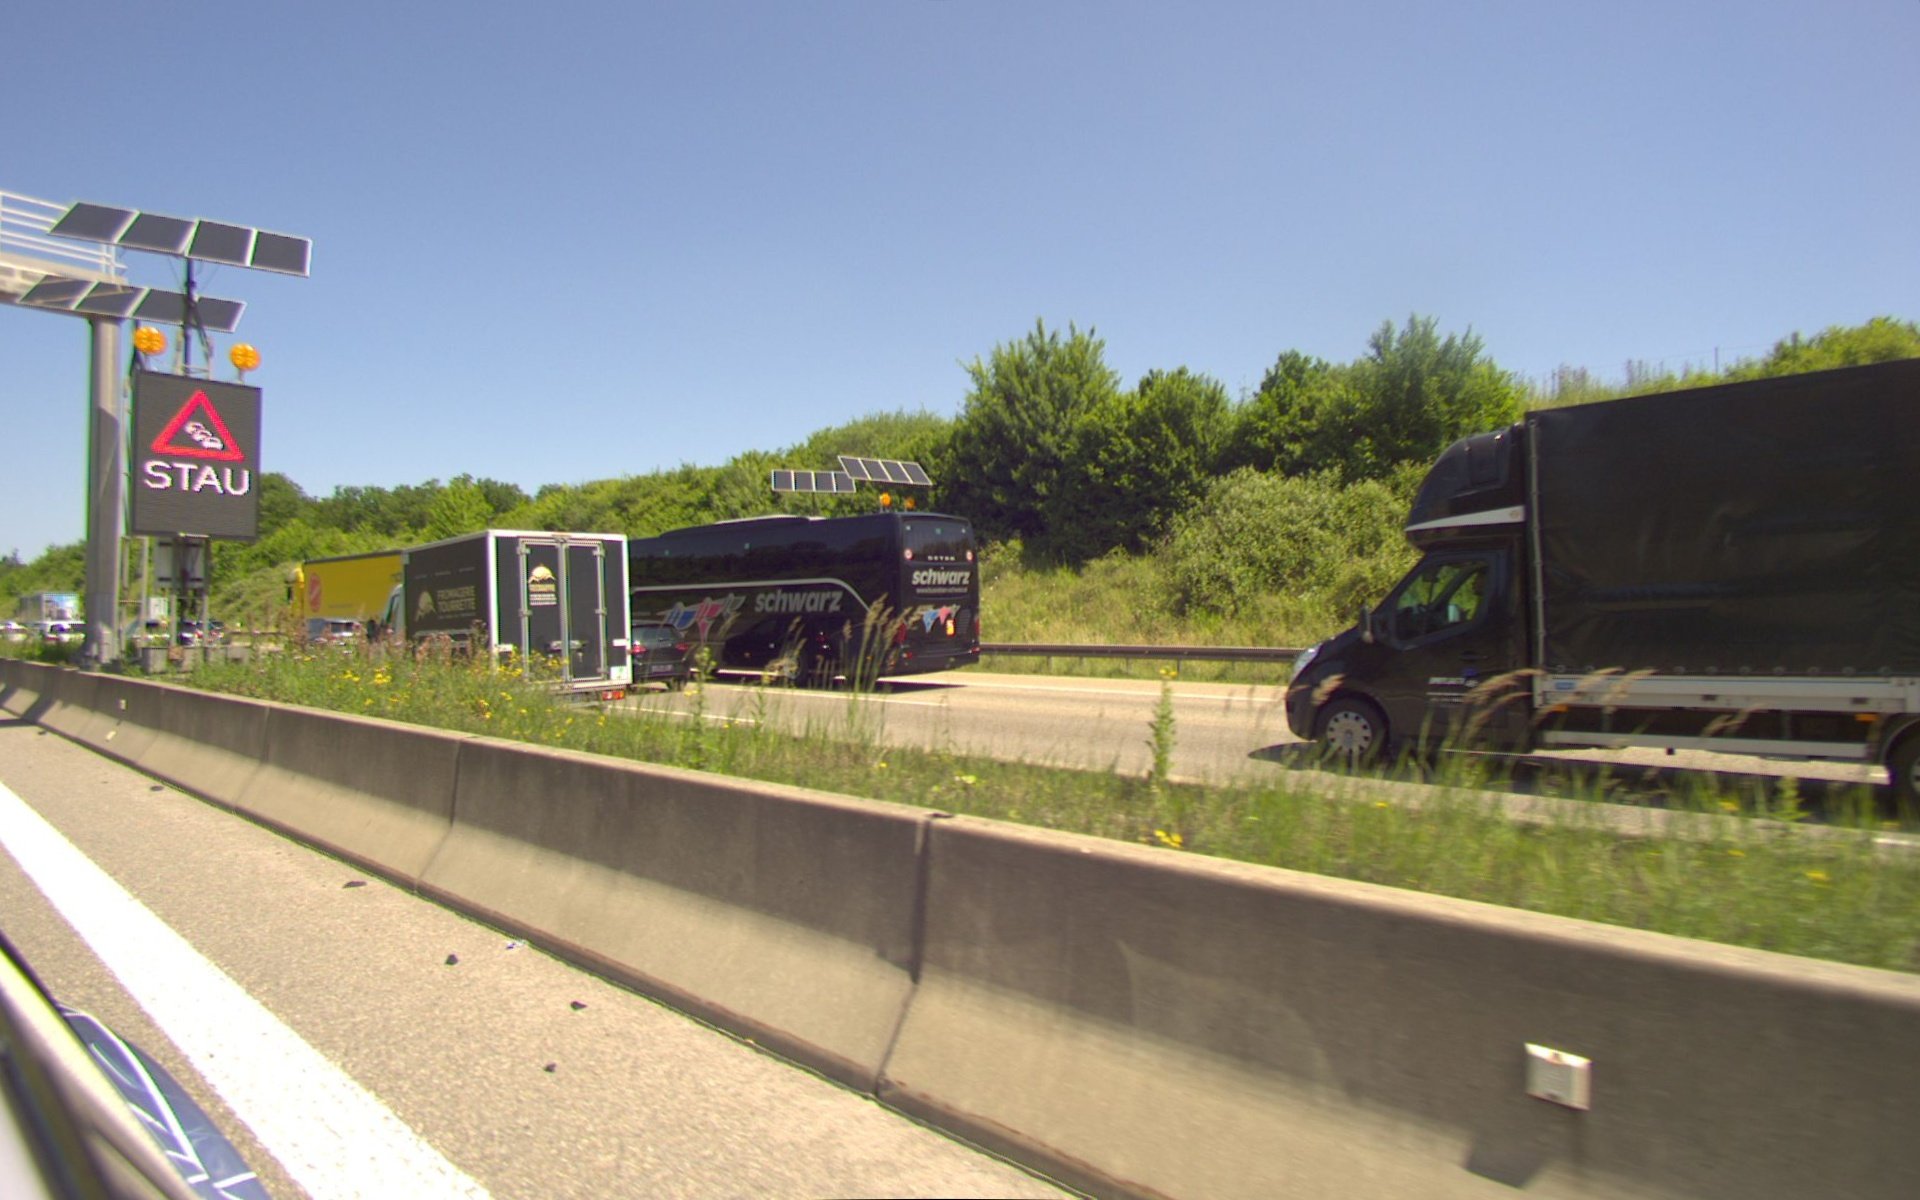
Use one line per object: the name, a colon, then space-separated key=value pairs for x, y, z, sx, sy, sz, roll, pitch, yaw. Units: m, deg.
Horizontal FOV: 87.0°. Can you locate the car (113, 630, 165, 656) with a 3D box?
car: x=-52.487 y=2.716 z=64.649 sx=4.796 sy=1.524 sz=1.793 roll=-1 pitch=0 yaw=41

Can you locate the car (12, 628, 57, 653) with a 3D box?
car: x=-64.943 y=2.808 z=70.990 sx=4.906 sy=1.641 sz=1.793 roll=-1 pitch=0 yaw=41

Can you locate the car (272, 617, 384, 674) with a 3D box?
car: x=-19.774 y=1.368 z=31.589 sx=4.556 sy=1.625 sz=1.757 roll=-1 pitch=0 yaw=41

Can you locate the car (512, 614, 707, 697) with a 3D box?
car: x=-7.450 y=1.093 z=21.269 sx=4.758 sy=1.560 sz=1.757 roll=-1 pitch=-2 yaw=41

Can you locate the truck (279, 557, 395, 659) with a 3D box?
truck: x=-26.853 y=0.343 z=43.511 sx=6.130 sy=4.095 sz=2.575 roll=-1 pitch=0 yaw=41

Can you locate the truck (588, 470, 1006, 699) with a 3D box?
truck: x=-4.357 y=-0.243 z=23.672 sx=11.481 sy=4.253 sz=3.024 roll=-1 pitch=0 yaw=41

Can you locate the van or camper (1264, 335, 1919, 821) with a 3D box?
van or camper: x=6.878 y=-0.154 z=8.564 sx=7.942 sy=3.385 sz=2.502 roll=-1 pitch=0 yaw=43

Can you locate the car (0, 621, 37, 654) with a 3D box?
car: x=-47.433 y=1.843 z=50.300 sx=4.815 sy=1.524 sz=1.793 roll=-1 pitch=0 yaw=41

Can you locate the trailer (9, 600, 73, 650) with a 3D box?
trailer: x=-83.621 y=2.186 z=91.960 sx=12.780 sy=4.294 sz=2.813 roll=-1 pitch=0 yaw=41

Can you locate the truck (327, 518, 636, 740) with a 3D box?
truck: x=-7.706 y=0.393 z=15.899 sx=6.209 sy=2.863 sz=2.098 roll=-1 pitch=0 yaw=41

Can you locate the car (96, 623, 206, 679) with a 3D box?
car: x=-24.924 y=1.488 z=31.118 sx=5.028 sy=1.524 sz=1.793 roll=-1 pitch=0 yaw=41

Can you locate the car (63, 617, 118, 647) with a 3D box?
car: x=-52.334 y=1.890 z=60.849 sx=5.379 sy=1.641 sz=1.793 roll=-1 pitch=0 yaw=41

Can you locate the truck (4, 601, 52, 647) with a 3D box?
truck: x=-88.943 y=2.290 z=96.580 sx=5.626 sy=4.235 sz=2.790 roll=-1 pitch=0 yaw=41

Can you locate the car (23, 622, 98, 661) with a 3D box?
car: x=-38.454 y=1.728 z=43.228 sx=5.028 sy=1.524 sz=1.793 roll=-1 pitch=0 yaw=41

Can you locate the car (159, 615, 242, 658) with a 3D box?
car: x=-34.103 y=1.582 z=45.382 sx=5.899 sy=1.765 sz=1.843 roll=-1 pitch=0 yaw=41

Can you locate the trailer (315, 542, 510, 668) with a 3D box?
trailer: x=-21.071 y=0.214 z=38.407 sx=11.851 sy=4.175 sz=2.622 roll=-1 pitch=0 yaw=42
